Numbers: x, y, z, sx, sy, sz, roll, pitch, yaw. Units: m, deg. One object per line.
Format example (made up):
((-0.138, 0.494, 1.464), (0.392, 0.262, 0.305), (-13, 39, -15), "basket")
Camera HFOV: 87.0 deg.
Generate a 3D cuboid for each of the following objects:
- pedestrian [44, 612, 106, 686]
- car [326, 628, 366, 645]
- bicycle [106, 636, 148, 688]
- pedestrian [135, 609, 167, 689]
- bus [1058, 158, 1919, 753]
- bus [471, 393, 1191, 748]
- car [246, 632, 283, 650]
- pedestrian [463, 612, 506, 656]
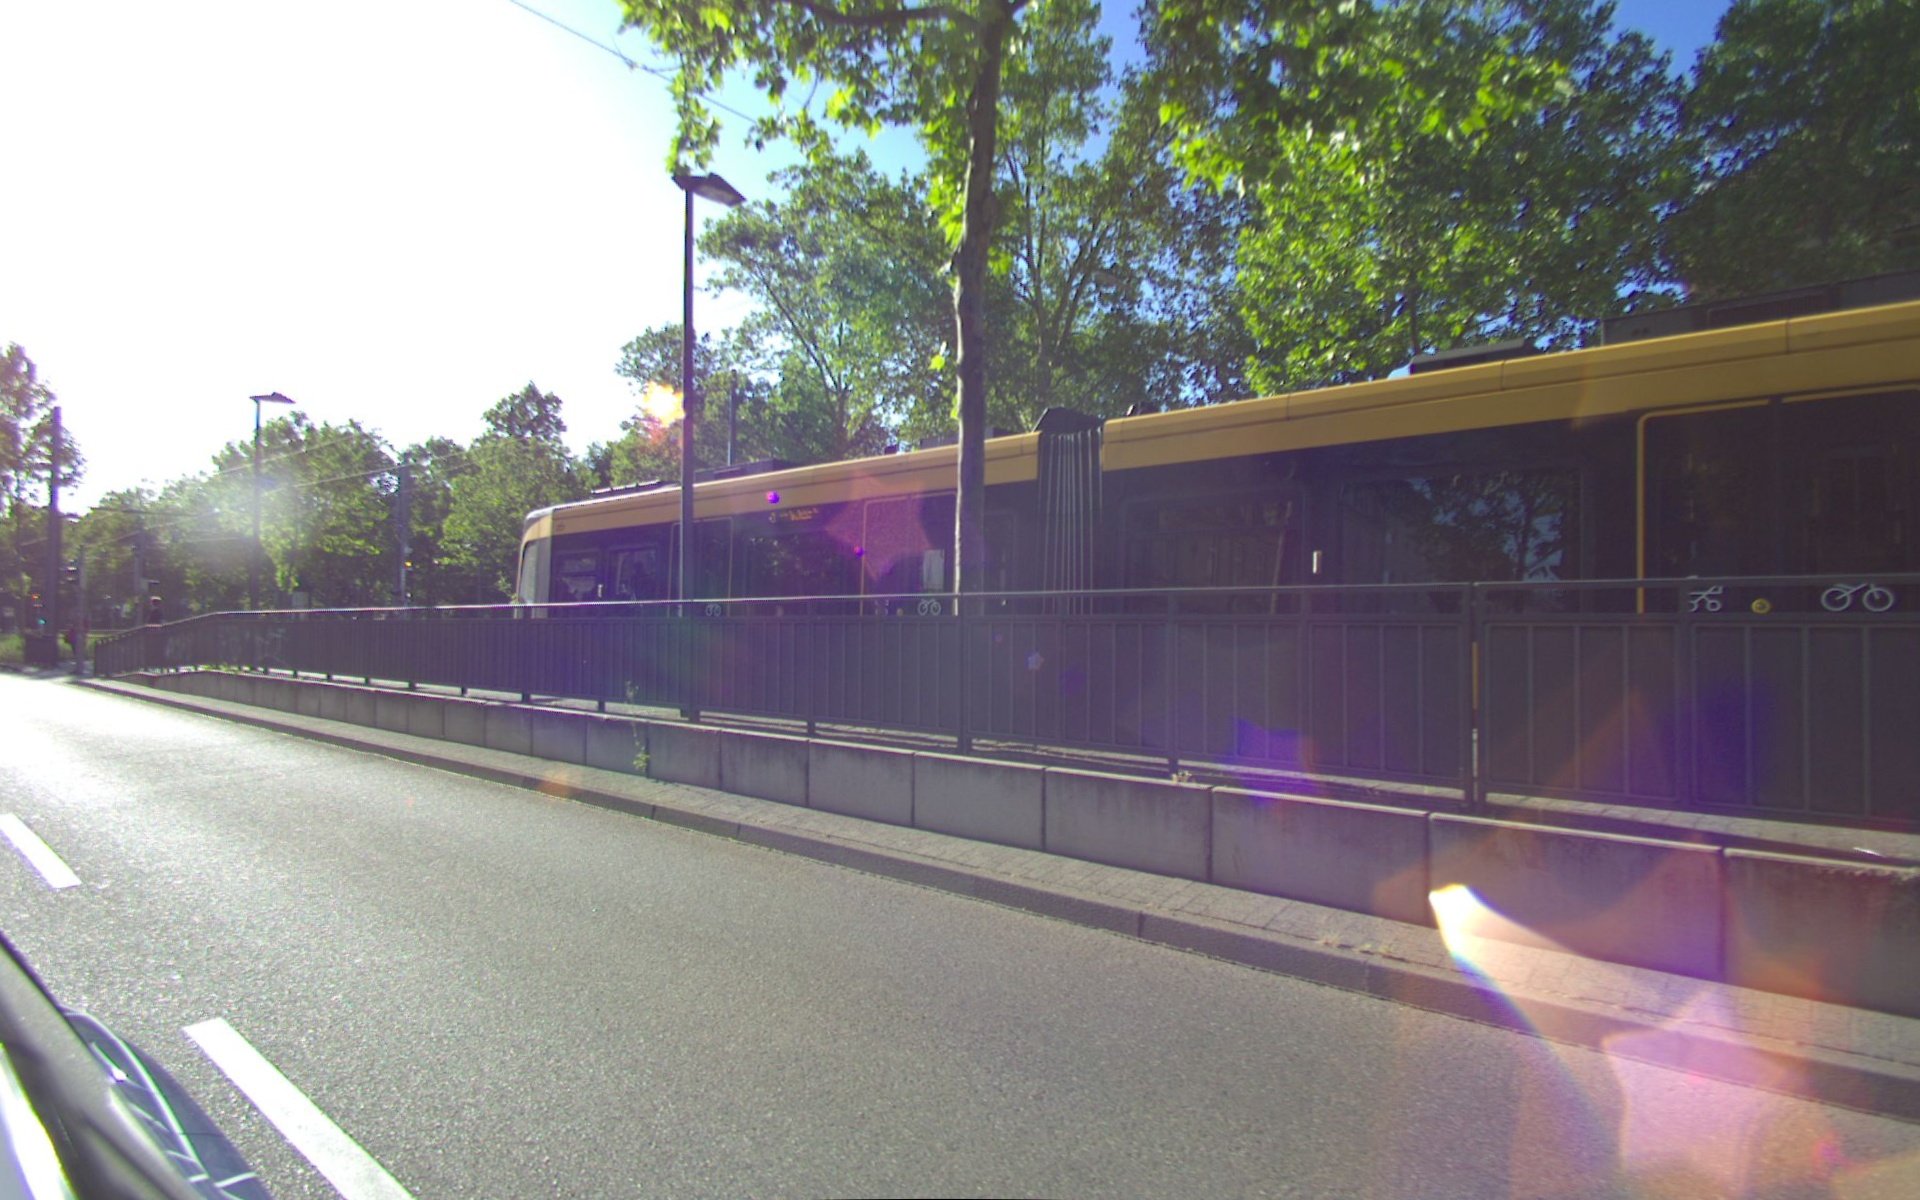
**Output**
((-23.830, 1.303, 27.249), (1.126, 1.931, 1.061), (-2, -2, 39), "pedestrian")
((-50.638, 2.996, 83.486), (3.778, 1.322, 1.750), (-3, -1, 41), "car")
((-20.267, 1.495, 24.612), (1.825, 1.223, 0.325), (-1, -2, 36), "bicycle")
((-19.672, 1.194, 24.615), (0.583, 1.917, 0.447), (-1, -2, 34), "pedestrian")
((6.475, -0.821, 7.000), (12.209, 3.470, 2.839), (-2, -3, 42), "bus")
((-3.142, -0.080, 15.334), (13.211, 3.470, 2.839), (-2, -3, 42), "bus")
((-68.531, 4.012, 99.706), (3.995, 1.634, 1.974), (-3, -1, 39), "car")
((-18.103, 1.281, 38.509), (0.890, 1.656, 1.167), (-1, -2, 34), "pedestrian")
